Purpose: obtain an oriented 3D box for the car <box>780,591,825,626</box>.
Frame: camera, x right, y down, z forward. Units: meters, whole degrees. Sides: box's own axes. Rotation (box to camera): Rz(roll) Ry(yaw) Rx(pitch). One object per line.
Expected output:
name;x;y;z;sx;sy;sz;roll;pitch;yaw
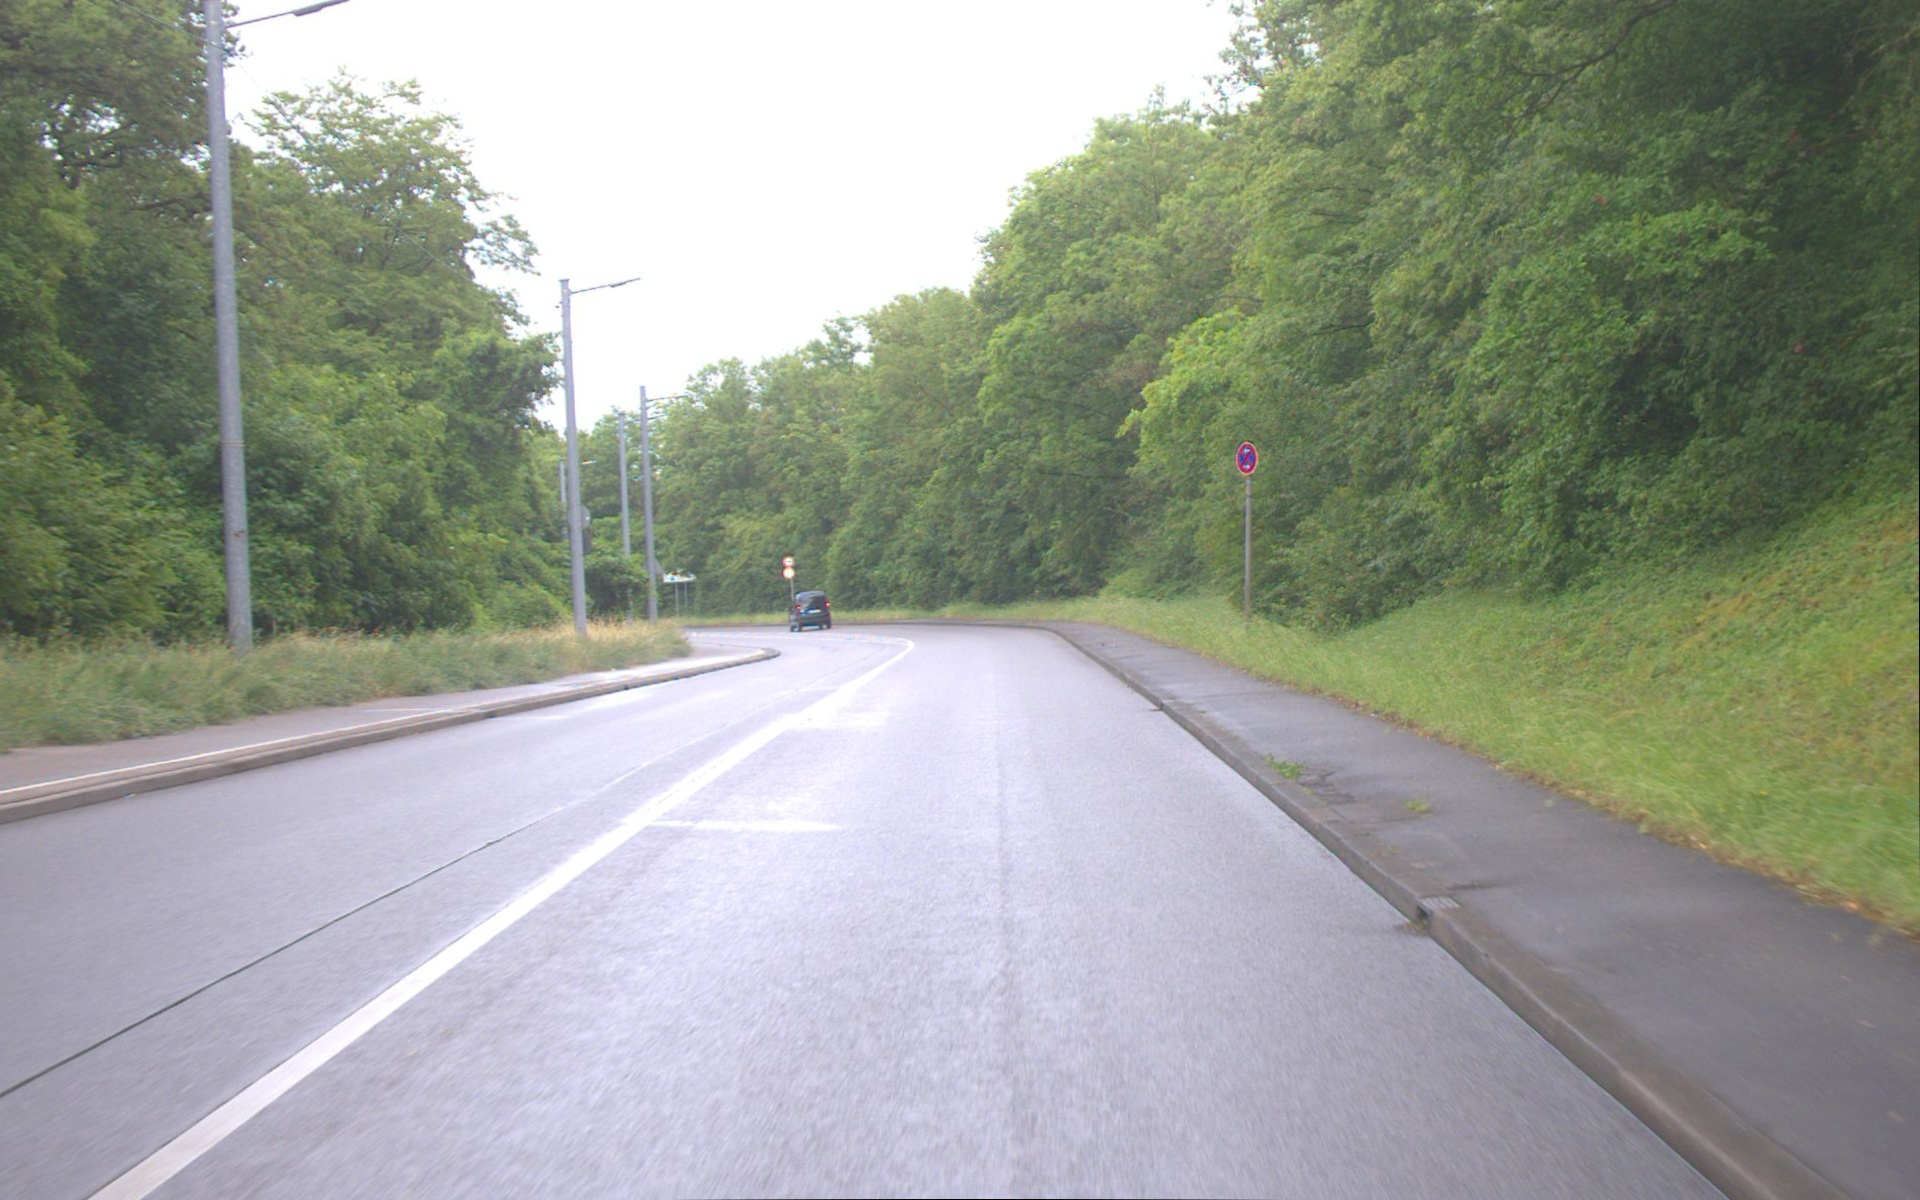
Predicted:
car;-7.579;0.412;165.329;1.867;1.590;4.001;2;-1;-7
